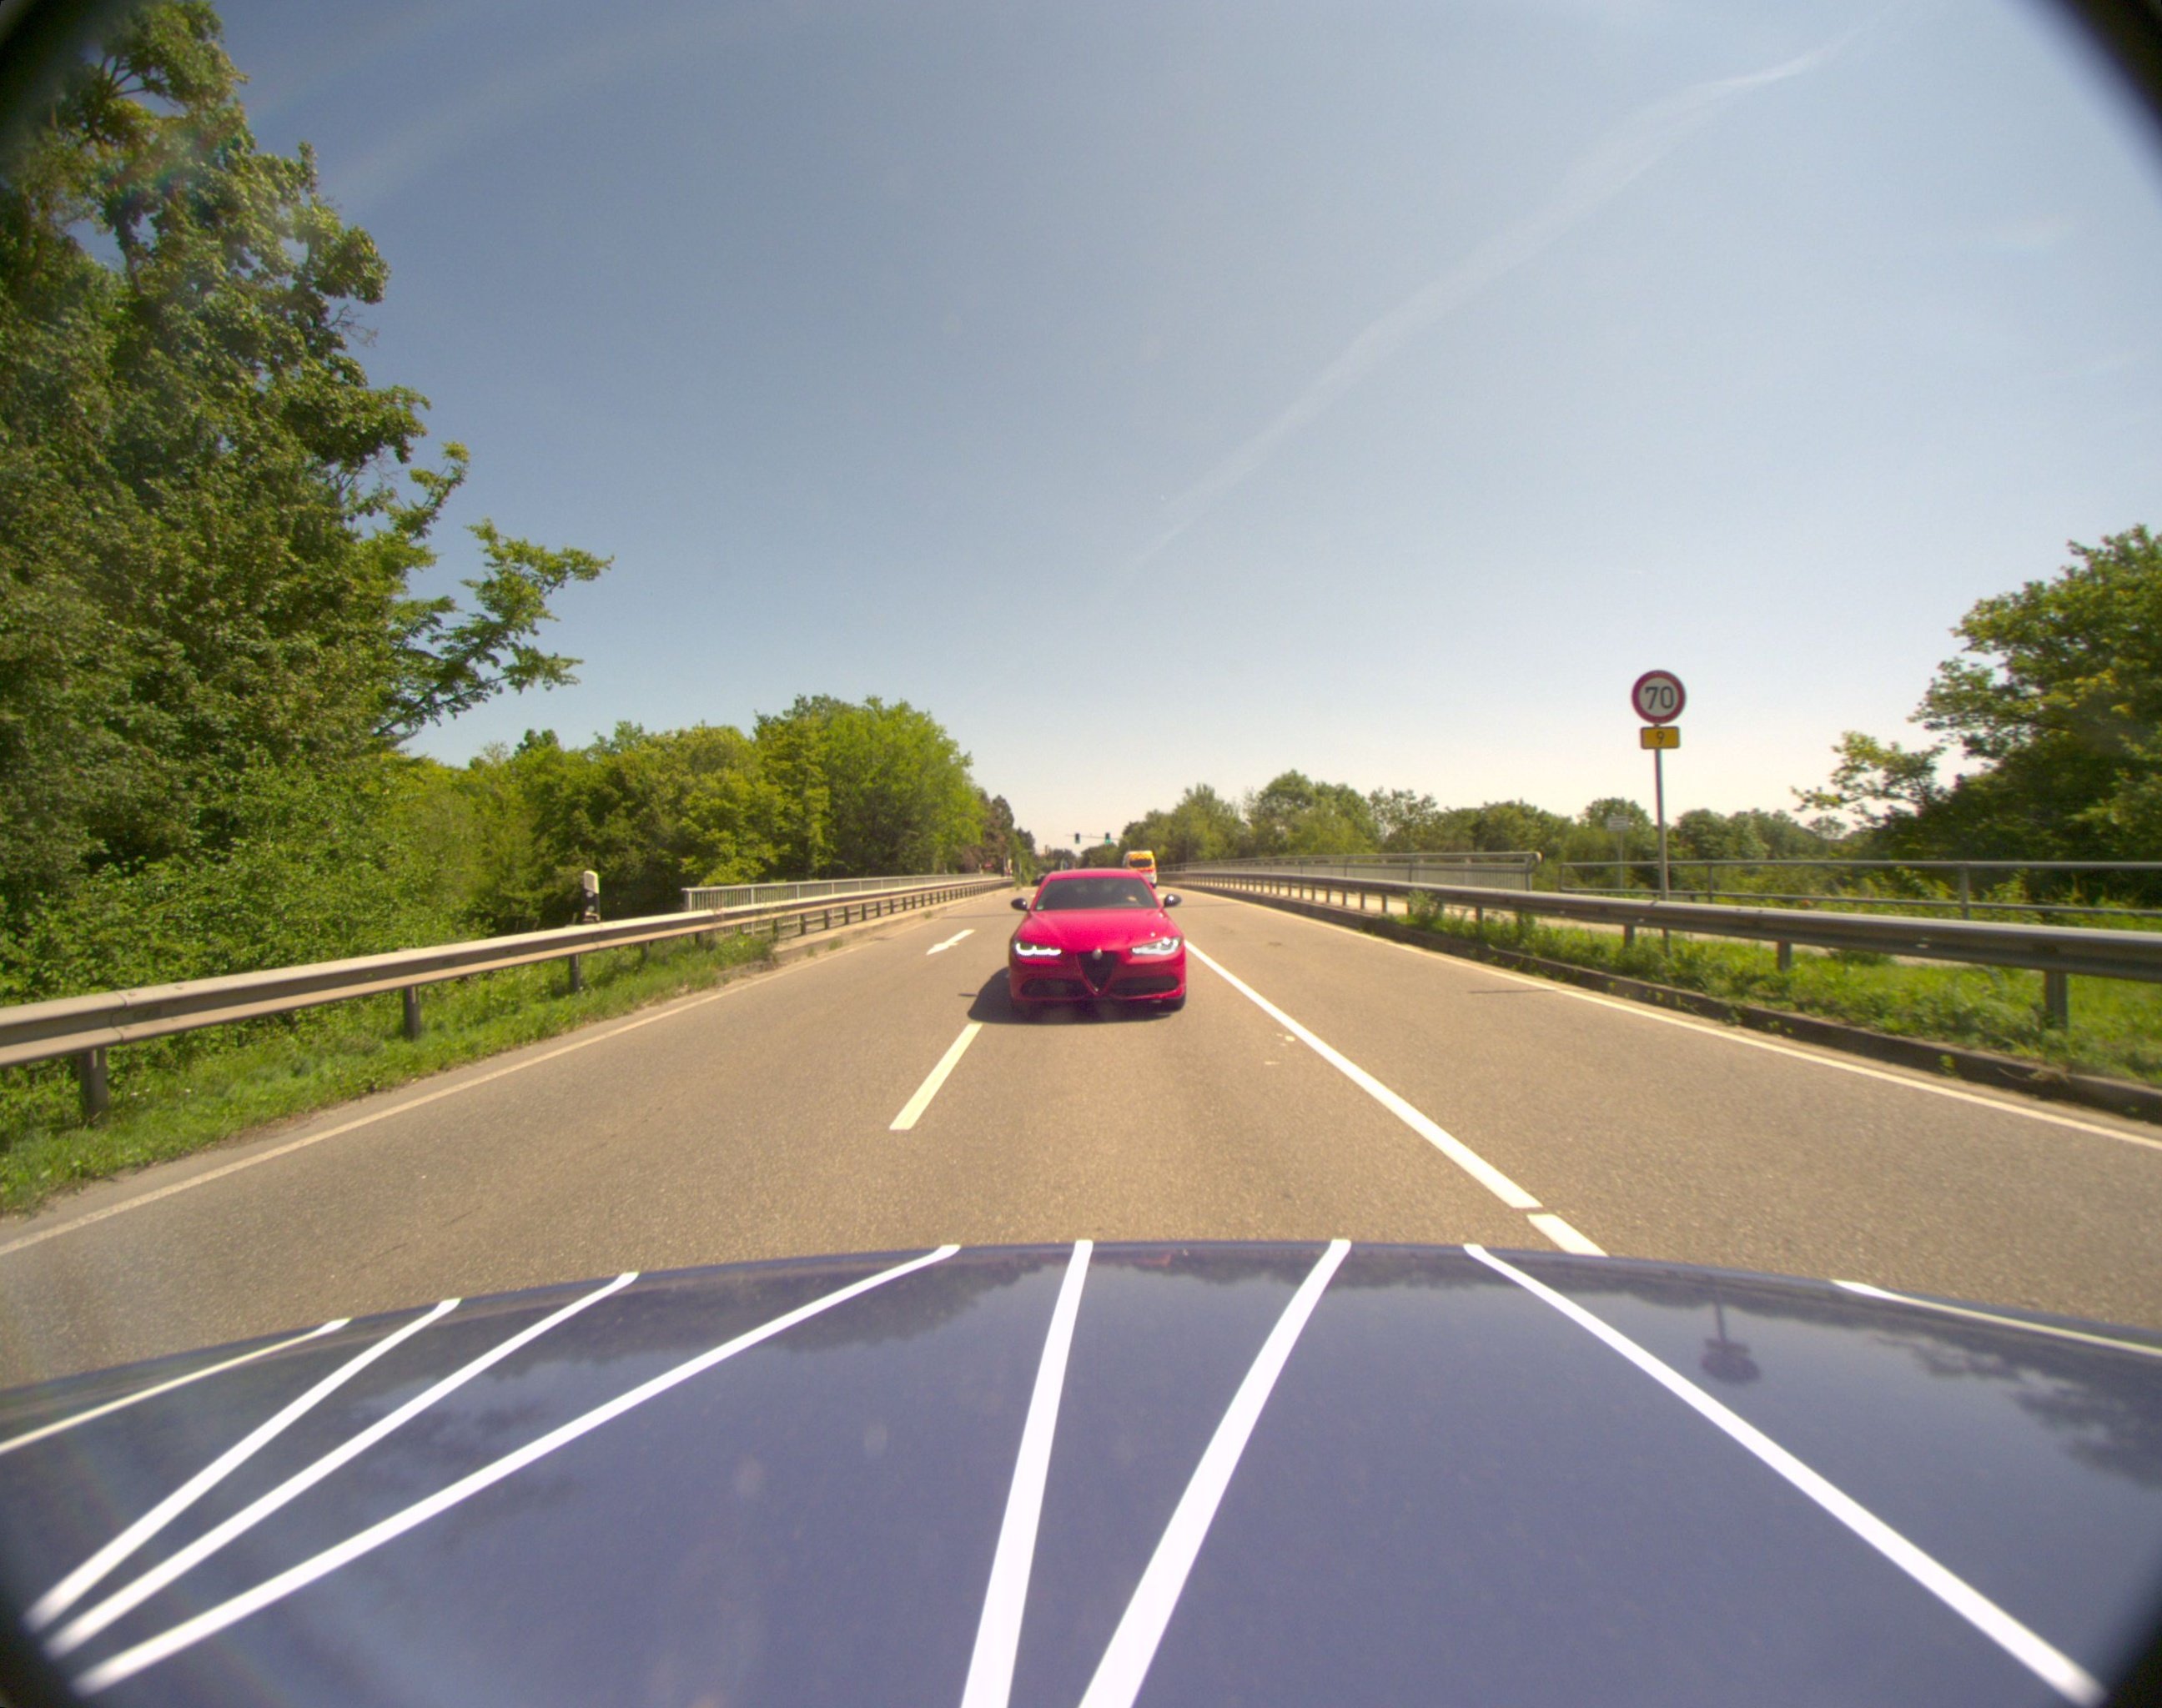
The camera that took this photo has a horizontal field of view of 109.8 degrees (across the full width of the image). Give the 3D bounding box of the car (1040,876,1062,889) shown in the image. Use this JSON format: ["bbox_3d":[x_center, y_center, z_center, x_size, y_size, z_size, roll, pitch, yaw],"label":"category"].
[{"bbox_3d":[-4.131,3.892,105.239,1.637,1.667,3.482,-2,1,-28],"label":"car"}]

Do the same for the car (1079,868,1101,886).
[{"bbox_3d":[0.767,1.951,64.954,1.800,1.448,3.707,-1,0,1],"label":"car"}]

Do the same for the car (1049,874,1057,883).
[{"bbox_3d":[-5.223,4.578,140.749,1.416,1.499,3.316,-1,0,0],"label":"car"}]

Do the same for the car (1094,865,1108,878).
[{"bbox_3d":[2.783,2.428,107.805,1.848,1.758,4.000,-1,0,0],"label":"car"}]

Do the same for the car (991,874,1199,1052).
[{"bbox_3d":[0.140,1.013,8.825,1.800,1.448,4.285,-1,0,1],"label":"car"}]

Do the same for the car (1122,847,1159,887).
[{"bbox_3d":[3.753,0.811,48.740,1.995,2.354,5.182,-2,0,1],"label":"car"}]
